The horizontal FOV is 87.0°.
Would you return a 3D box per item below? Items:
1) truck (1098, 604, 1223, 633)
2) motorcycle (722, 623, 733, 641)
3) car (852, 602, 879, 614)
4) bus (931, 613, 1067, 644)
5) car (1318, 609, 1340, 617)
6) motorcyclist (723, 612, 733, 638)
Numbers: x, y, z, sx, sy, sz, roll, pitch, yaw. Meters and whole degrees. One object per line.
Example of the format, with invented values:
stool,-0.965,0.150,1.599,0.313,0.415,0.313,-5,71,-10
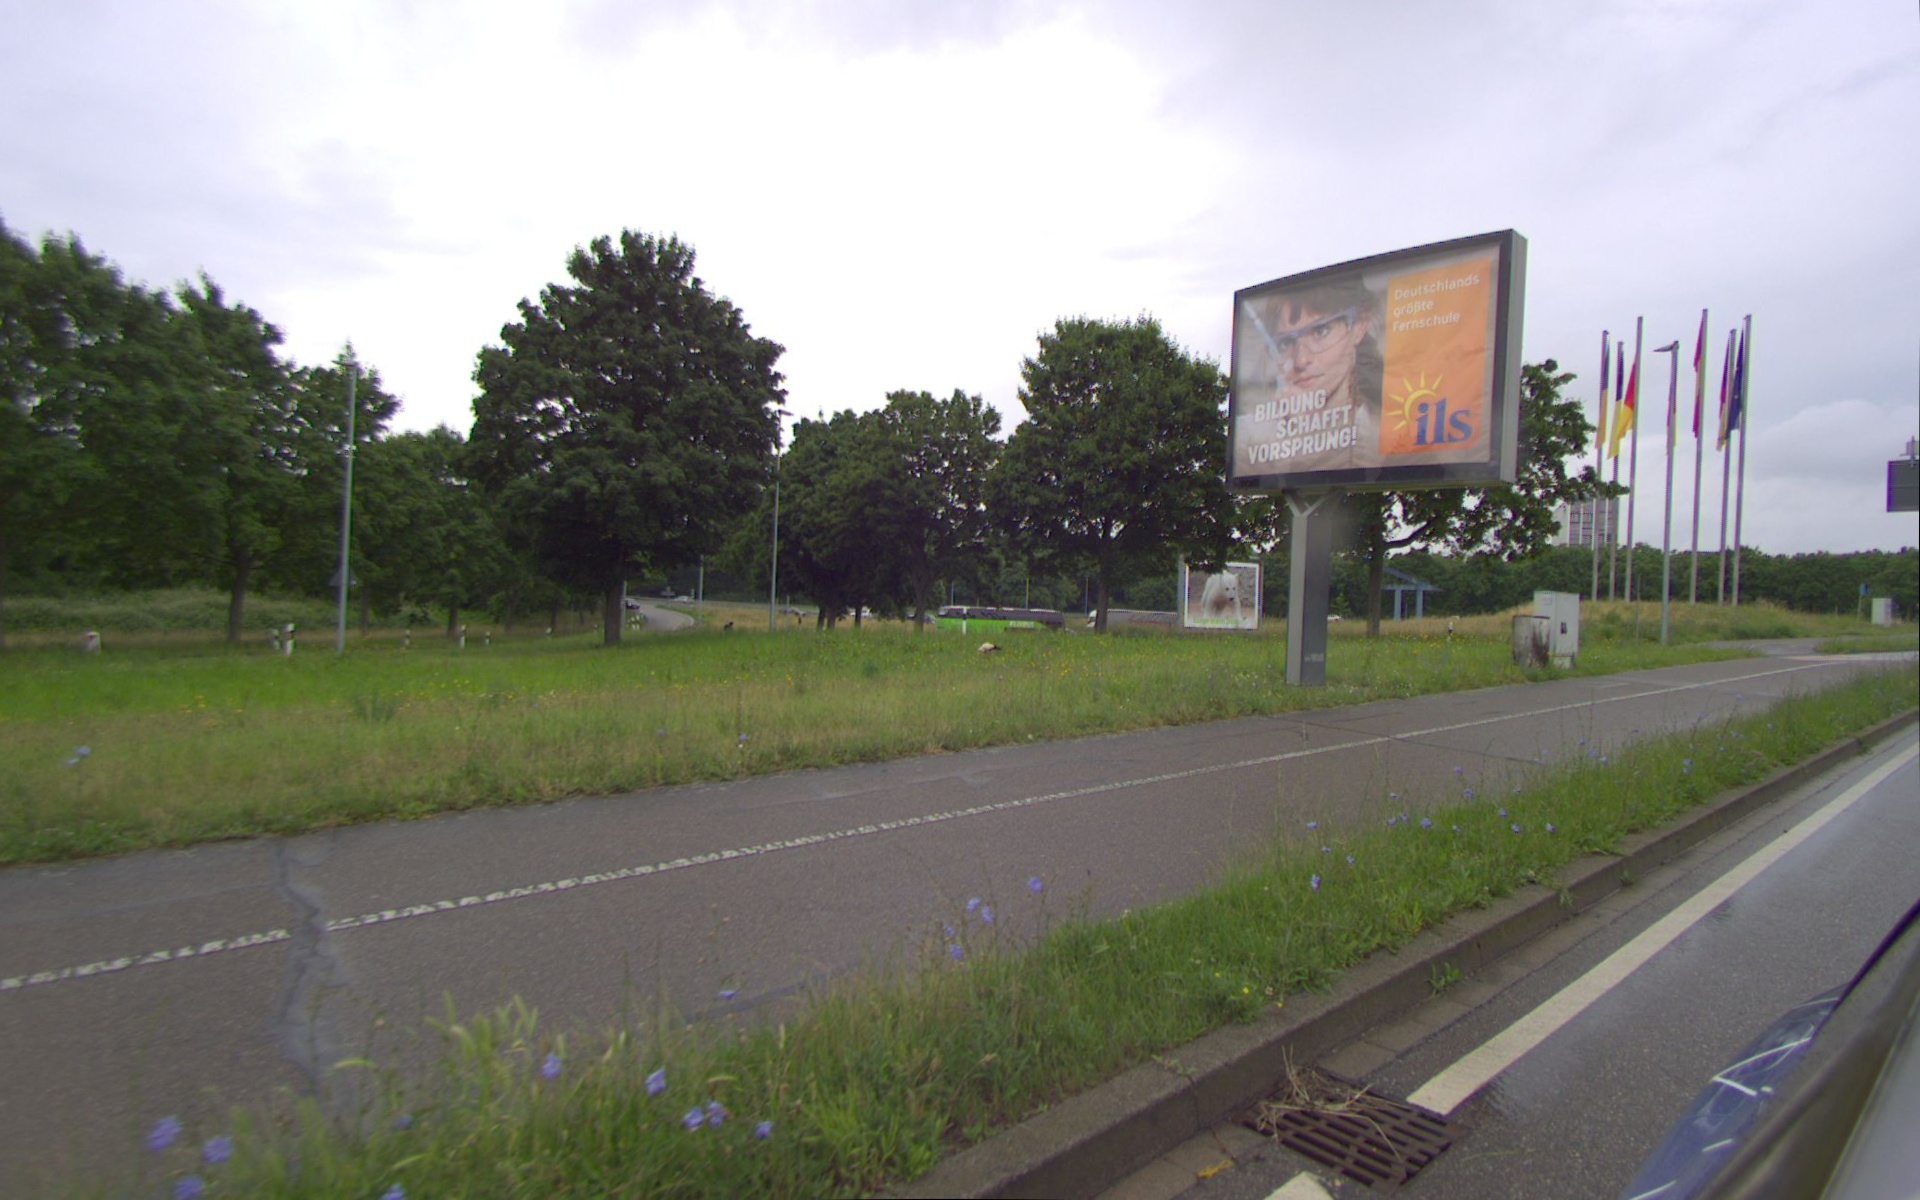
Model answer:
truck,26.220,2.353,133.157,16.125,3.433,2.720,1,0,30
motorcycle,-16.139,2.232,70.253,0.590,1.107,1.736,1,1,-17
car,-14.742,1.272,157.767,3.964,1.854,1.822,1,0,29
bus,4.109,2.907,104.686,14.288,2.713,2.769,-1,1,-23
car,75.368,2.642,206.907,3.941,1.652,1.991,1,0,14
motorcyclist,-16.104,1.727,70.251,0.590,1.711,0.862,1,1,-17
